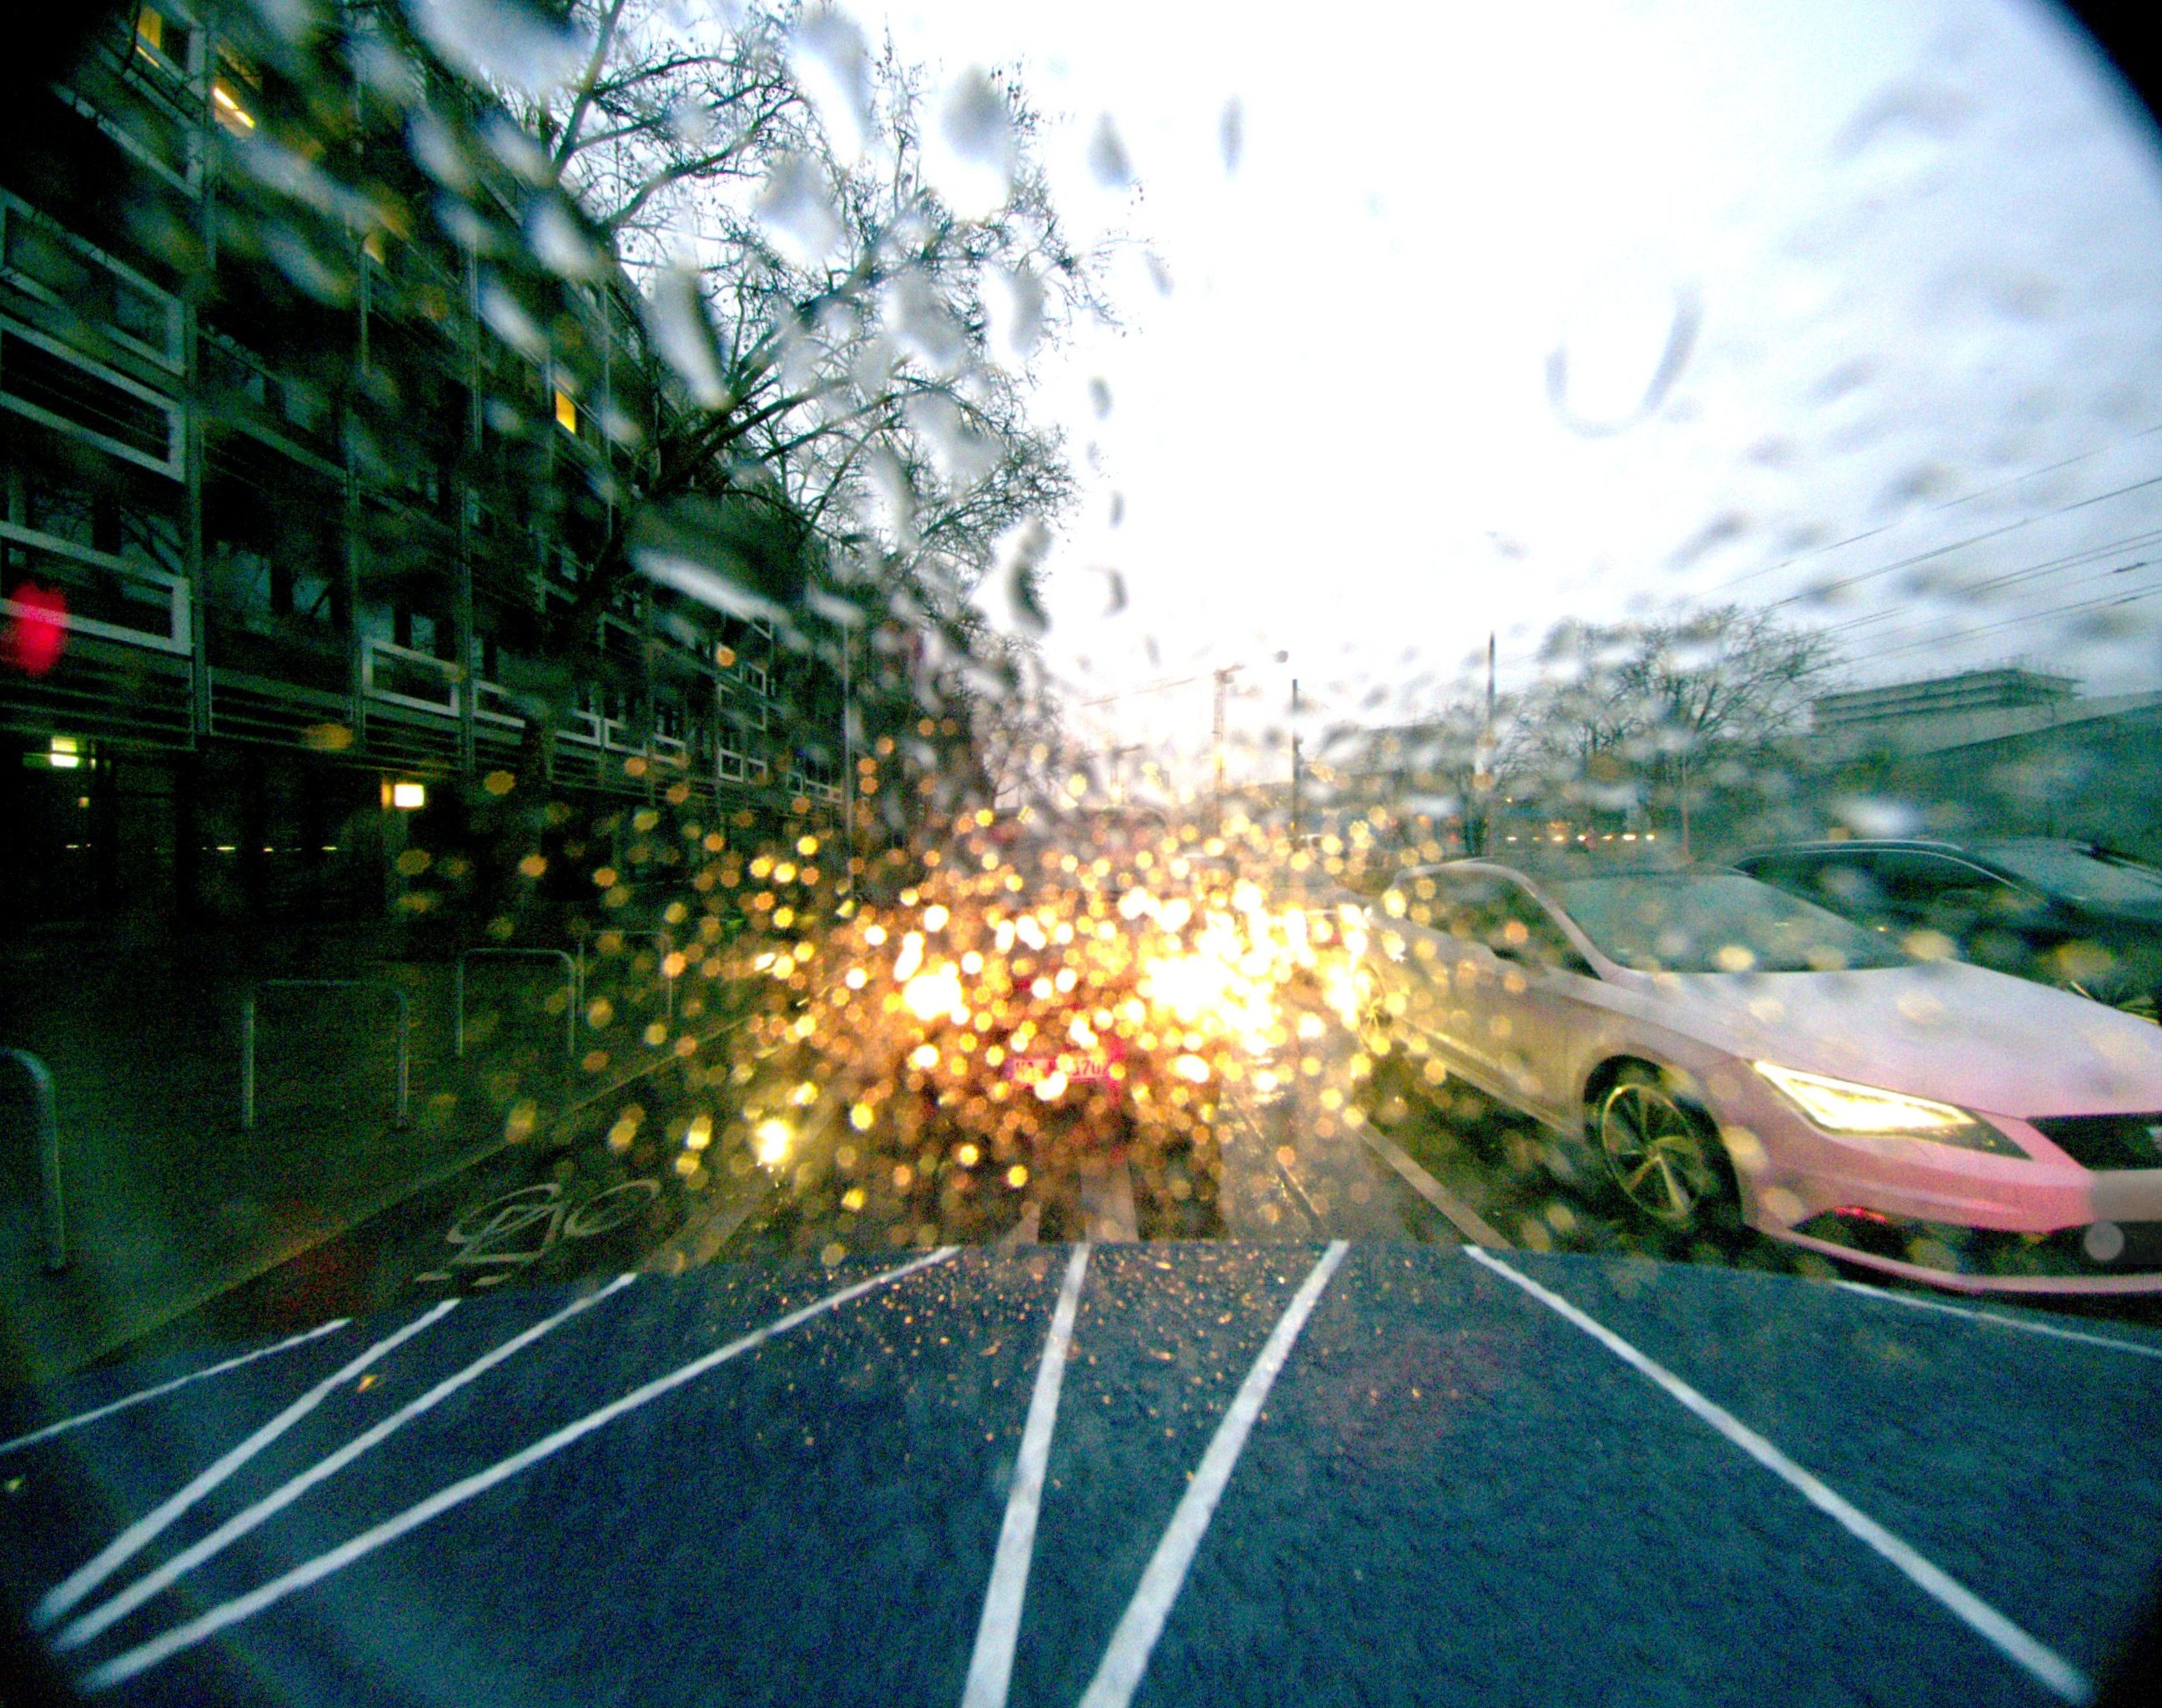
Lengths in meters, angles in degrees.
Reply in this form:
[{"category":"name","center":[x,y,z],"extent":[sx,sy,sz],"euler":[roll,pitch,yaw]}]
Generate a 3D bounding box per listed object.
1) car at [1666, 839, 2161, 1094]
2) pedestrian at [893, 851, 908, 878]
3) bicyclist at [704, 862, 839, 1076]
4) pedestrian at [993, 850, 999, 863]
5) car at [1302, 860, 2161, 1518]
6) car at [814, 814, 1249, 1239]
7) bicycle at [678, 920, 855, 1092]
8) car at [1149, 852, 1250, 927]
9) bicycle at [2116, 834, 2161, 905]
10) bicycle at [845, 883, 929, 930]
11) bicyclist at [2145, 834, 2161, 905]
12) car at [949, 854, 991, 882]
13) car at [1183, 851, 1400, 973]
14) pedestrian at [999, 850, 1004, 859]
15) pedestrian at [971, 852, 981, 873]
[{"category":"car","center":[7.358,0.652,5.980],"extent":[1.853,1.499,4.662],"euler":[-1,1,-1]},{"category":"pedestrian","center":[-11.753,0.659,49.467],"extent":[0.766,1.740,0.928],"euler":[0,1,-4]},{"category":"bicyclist","center":[-2.567,0.904,6.410],"extent":[0.704,1.650,0.964],"euler":[-1,0,1]},{"category":"pedestrian","center":[-11.960,0.380,106.356],"extent":[0.766,1.740,0.928],"euler":[0,1,-4]},{"category":"car","center":[2.986,0.840,4.164],"extent":[1.949,1.478,4.504],"euler":[-2,0,-4]},{"category":"car","center":[-0.260,0.751,5.409],"extent":[1.878,1.830,3.999],"euler":[-2,1,-2]},{"category":"bicycle","center":[-2.560,1.188,6.431],"extent":[0.710,1.088,1.784],"euler":[-1,0,1]},{"category":"car","center":[2.848,0.798,19.086],"extent":[1.907,1.565,3.999],"euler":[-2,1,1]},{"category":"bicycle","center":[27.175,0.399,18.605],"extent":[0.763,1.723,2.063],"euler":[-2,2,-2]},{"category":"bicycle","center":[-4.491,1.209,17.653],"extent":[1.704,0.987,0.879],"euler":[1,1,0]},{"category":"bicyclist","center":[27.169,0.384,18.646],"extent":[0.763,1.723,0.961],"euler":[-2,2,-2]},{"category":"car","center":[-6.274,0.766,43.412],"extent":[1.713,1.455,3.999],"euler":[-2,1,1]},{"category":"car","center":[2.897,0.703,11.614],"extent":[1.999,1.478,4.505],"euler":[-1,0,-1]},{"category":"pedestrian","center":[-14.712,0.082,140.631],"extent":[0.766,1.740,0.928],"euler":[0,1,-4]},{"category":"pedestrian","center":[-9.101,0.720,65.939],"extent":[0.766,1.740,0.928],"euler":[0,1,-4]}]
